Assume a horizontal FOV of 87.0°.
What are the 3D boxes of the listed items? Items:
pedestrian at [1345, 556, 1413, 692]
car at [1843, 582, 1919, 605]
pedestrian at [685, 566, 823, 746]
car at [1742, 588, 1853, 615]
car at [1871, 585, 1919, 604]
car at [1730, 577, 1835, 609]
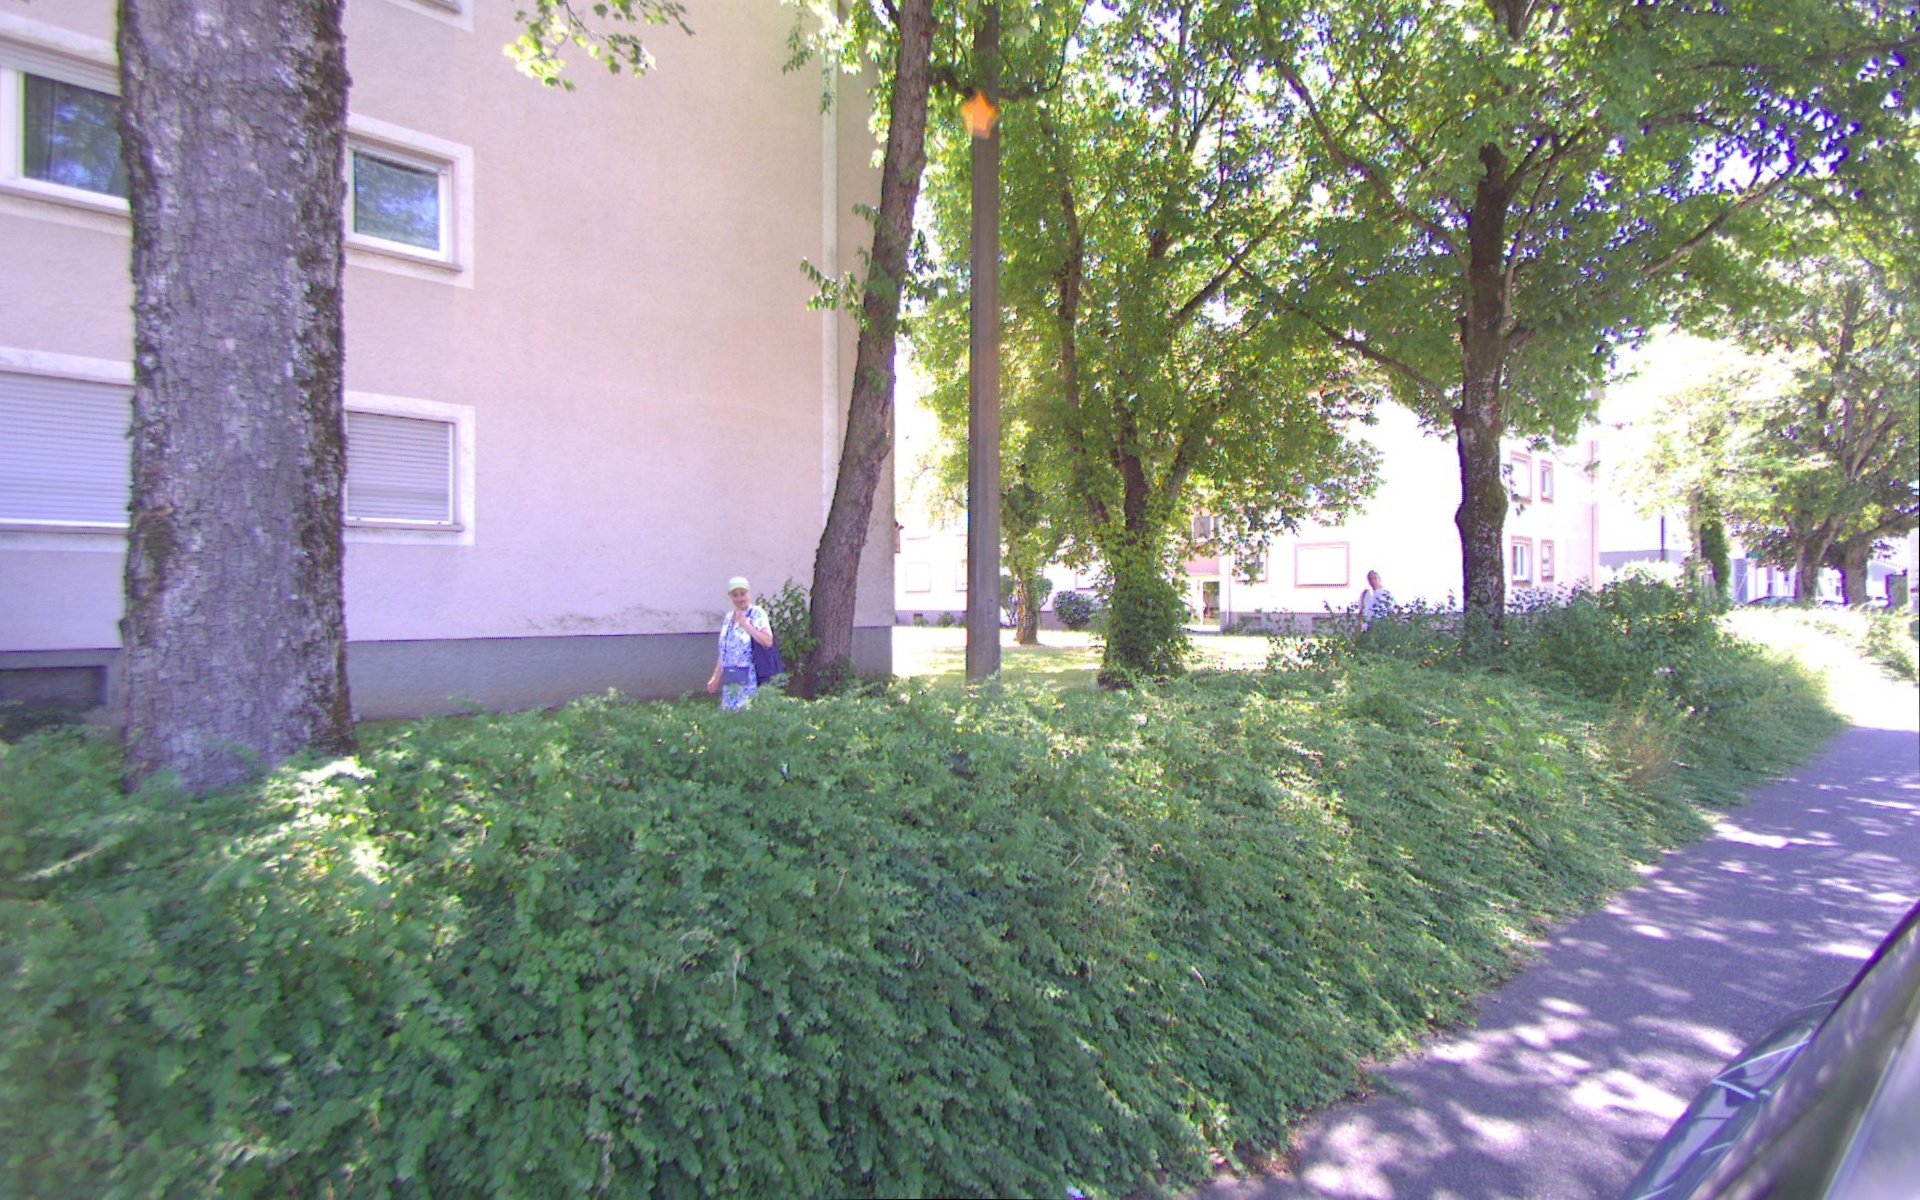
[{"bbox_3d":[6.159,0.340,14.885,0.648,1.938,0.705,0,0,-38],"label":"pedestrian"},{"bbox_3d":[70.993,-0.509,77.576,1.958,1.662,4.606,-1,1,-21],"label":"car"},{"bbox_3d":[-1.658,0.414,8.140,0.873,1.351,0.662,-1,0,-41],"label":"pedestrian"},{"bbox_3d":[45.492,0.065,55.086,4.315,1.388,1.937,0,1,27],"label":"car"},{"bbox_3d":[76.348,-0.430,81.535,1.768,1.479,4.007,-1,1,-25],"label":"car"},{"bbox_3d":[42.816,-0.399,52.749,1.766,1.569,3.994,-1,2,-41],"label":"car"}]
